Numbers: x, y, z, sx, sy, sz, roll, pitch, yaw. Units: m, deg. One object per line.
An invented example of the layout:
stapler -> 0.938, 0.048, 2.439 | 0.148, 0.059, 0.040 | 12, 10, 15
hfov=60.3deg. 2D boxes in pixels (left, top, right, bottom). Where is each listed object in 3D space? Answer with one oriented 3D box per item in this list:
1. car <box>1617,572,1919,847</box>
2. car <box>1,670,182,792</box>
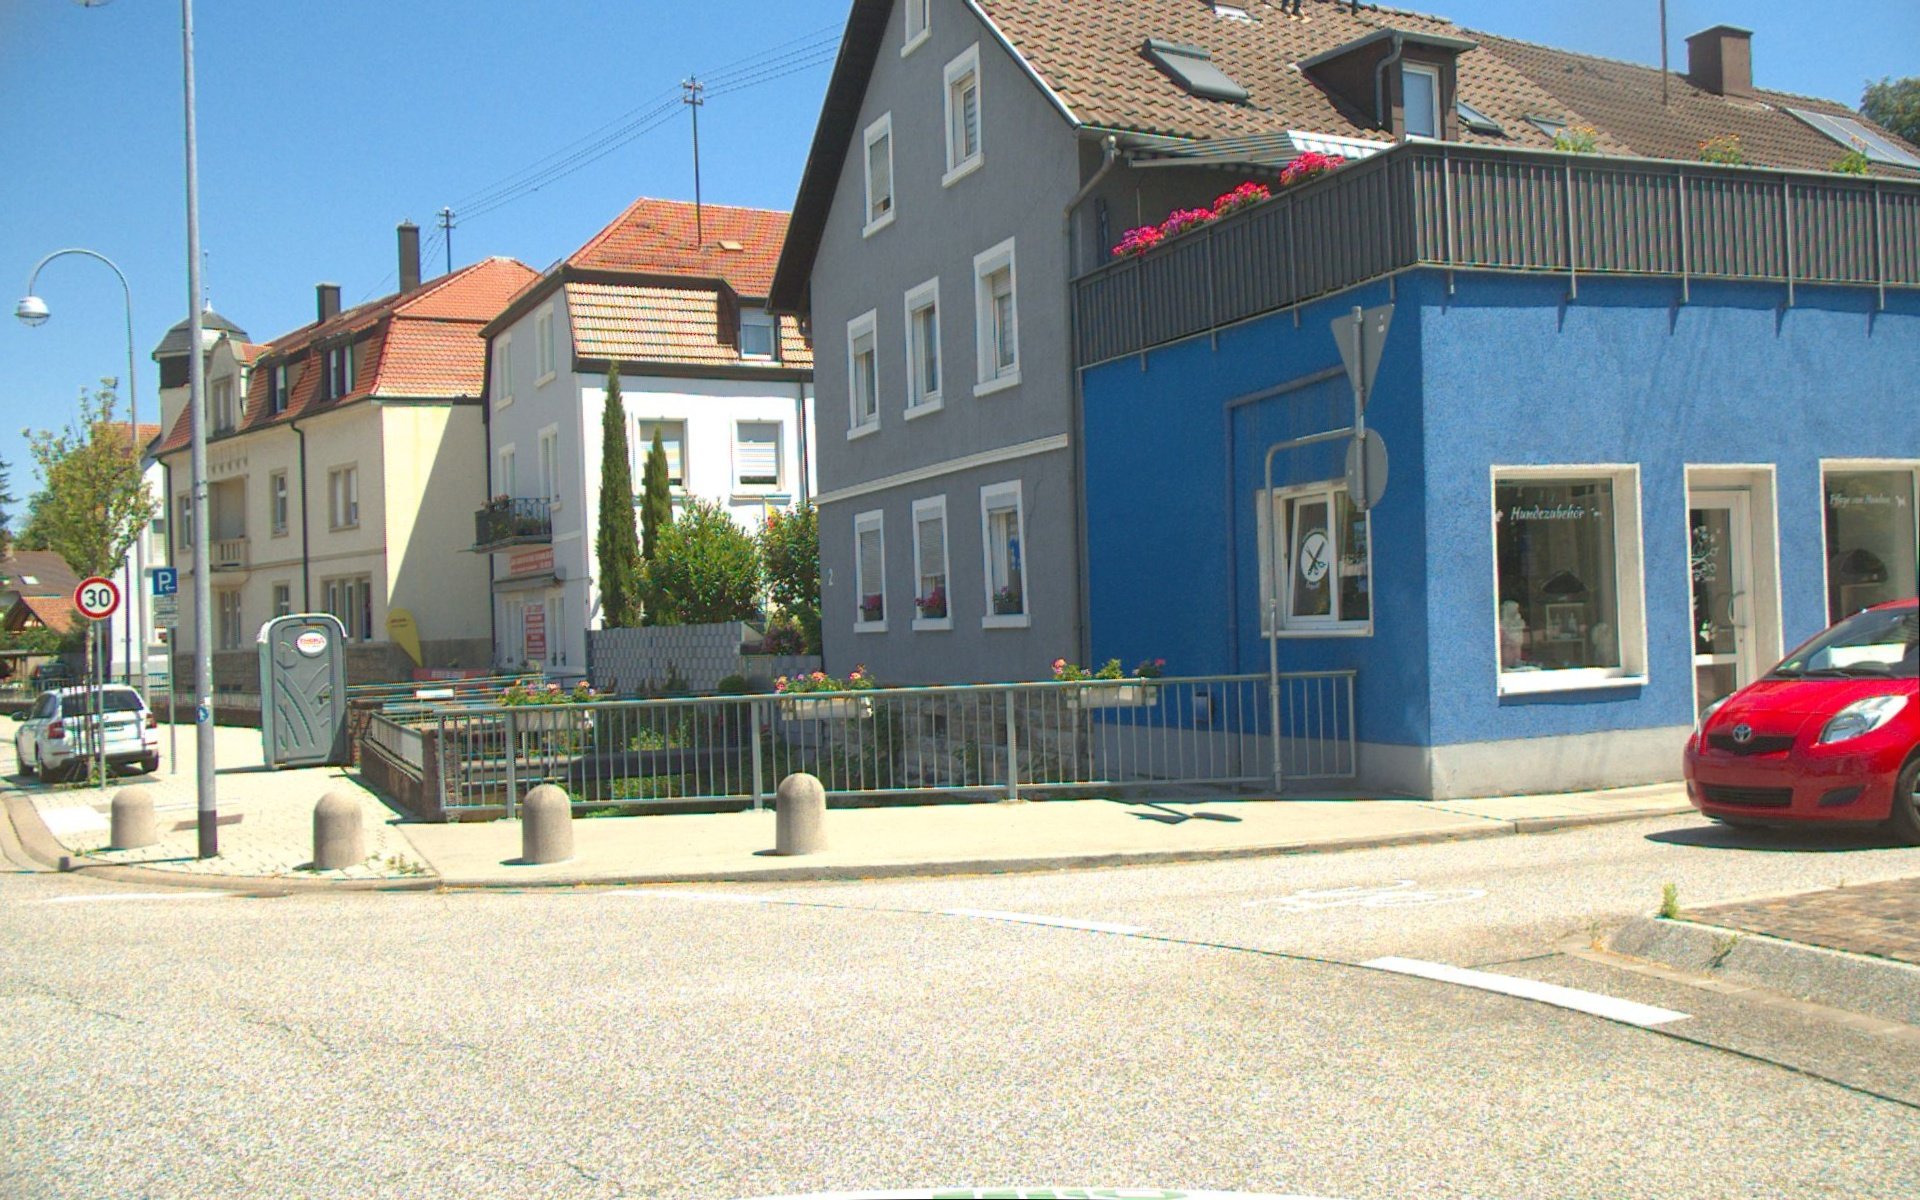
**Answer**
car -> 6.662, 0.623, 11.006 | 3.925, 1.560, 1.825 | -2, -3, -18
car -> -14.573, 2.121, 27.635 | 1.980, 1.611, 4.232 | -8, 2, -36
